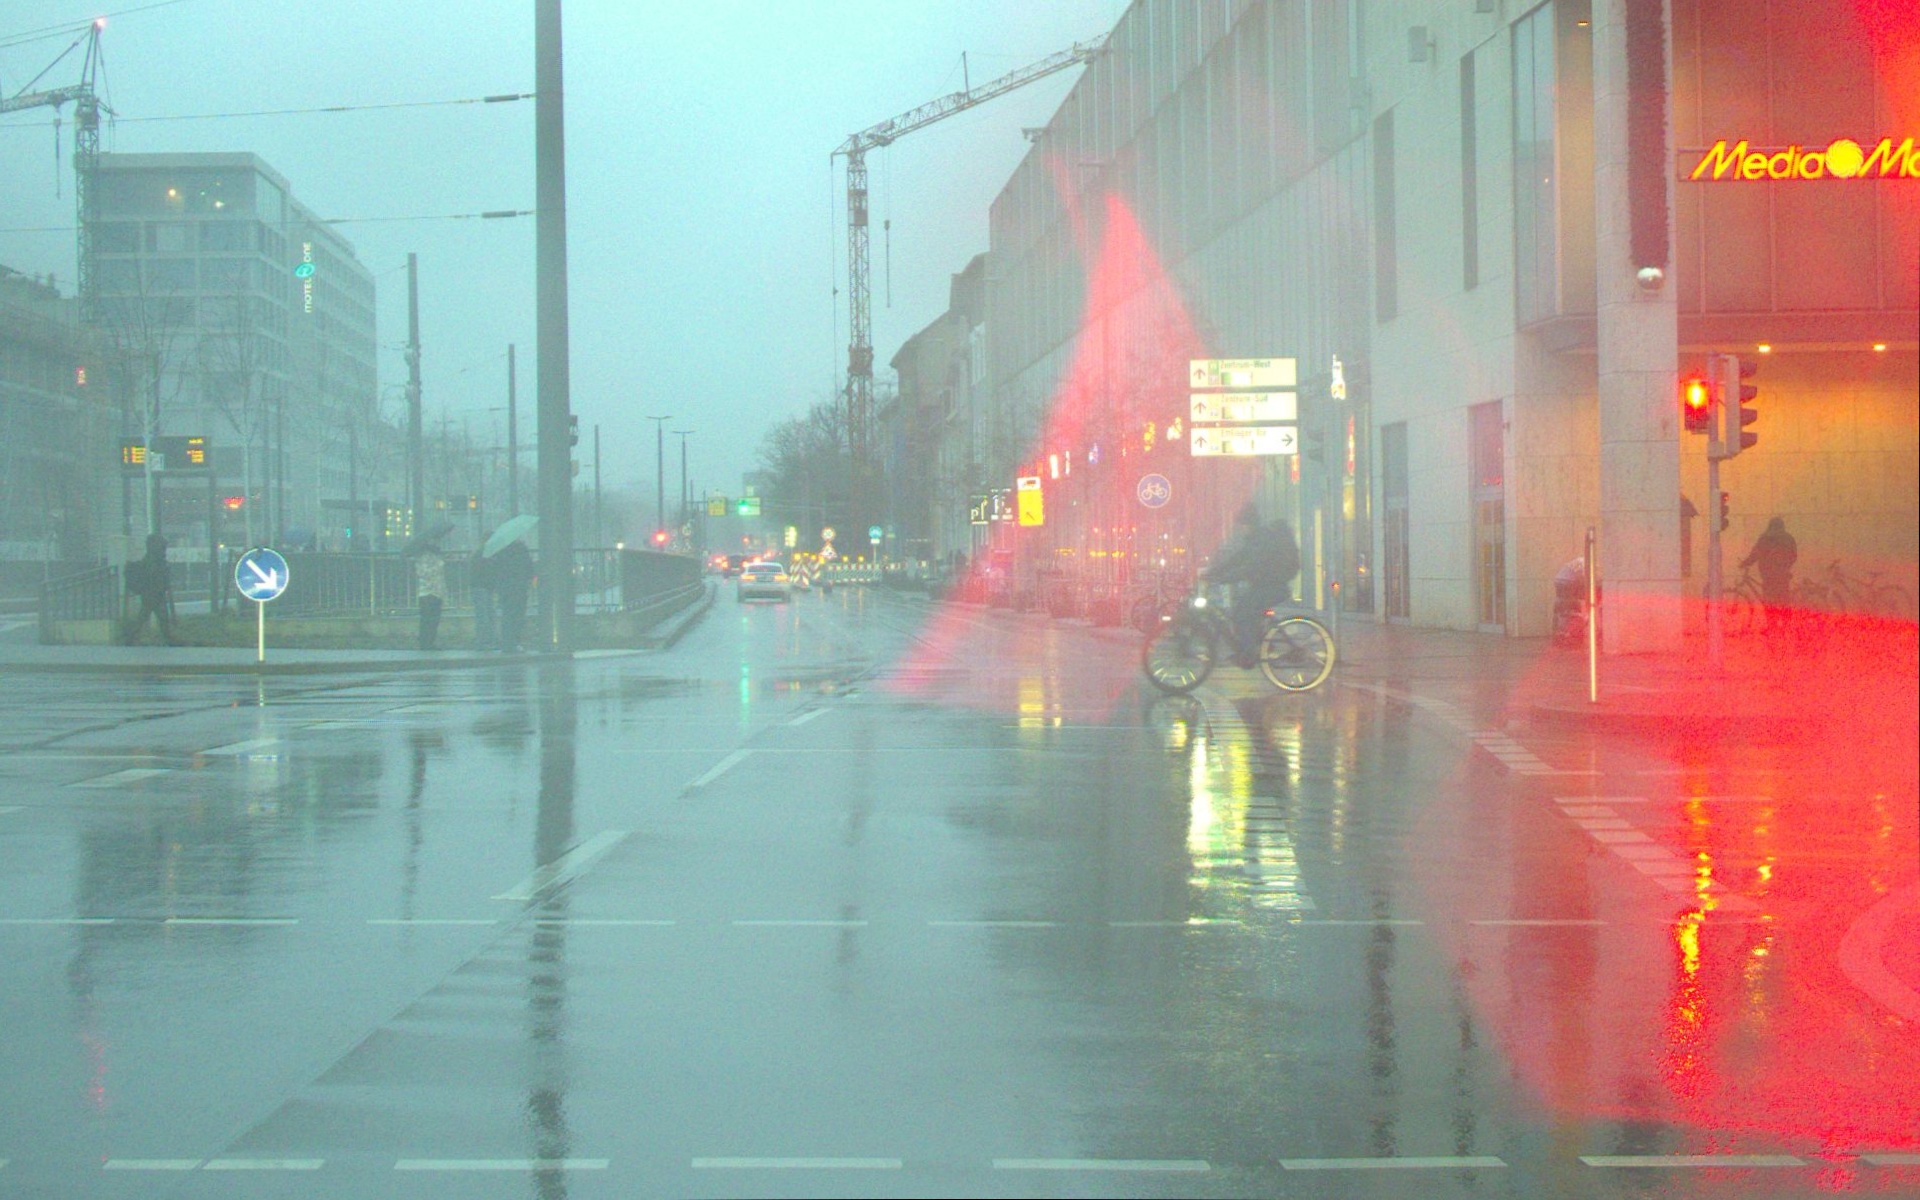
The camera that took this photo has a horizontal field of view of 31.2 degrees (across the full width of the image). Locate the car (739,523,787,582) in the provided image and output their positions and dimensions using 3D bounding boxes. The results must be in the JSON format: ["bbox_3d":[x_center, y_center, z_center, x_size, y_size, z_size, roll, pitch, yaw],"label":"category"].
[{"bbox_3d":[-6.846,-1.667,119.699,1.577,2.007,3.172,-1,1,-3],"label":"car"}]

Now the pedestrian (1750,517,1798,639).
[{"bbox_3d":[11.764,-0.319,49.714,0.600,1.739,0.524,1,0,8],"label":"pedestrian"}]

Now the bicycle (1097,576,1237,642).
[{"bbox_3d":[3.708,0.158,61.608,2.442,1.150,0.674,-1,0,-1],"label":"bicycle"}]

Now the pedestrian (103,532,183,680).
[{"bbox_3d":[-11.254,0.078,47.347,0.785,2.007,0.726,1,1,42],"label":"pedestrian"}]

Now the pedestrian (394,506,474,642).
[{"bbox_3d":[-7.121,-0.349,46.525,0.821,1.825,0.786,1,0,-31],"label":"pedestrian"}]

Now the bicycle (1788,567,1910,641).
[{"bbox_3d":[13.136,0.064,50.810,1.646,1.066,0.525,1,0,-4],"label":"bicycle"}]

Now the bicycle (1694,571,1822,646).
[{"bbox_3d":[11.668,0.118,50.321,1.768,1.066,0.524,1,0,8],"label":"bicycle"}]

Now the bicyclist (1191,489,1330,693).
[{"bbox_3d":[2.787,-0.085,31.973,1.156,1.865,0.745,1,0,-4],"label":"bicyclist"}]

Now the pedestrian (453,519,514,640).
[{"bbox_3d":[-6.654,-0.284,48.006,0.612,1.680,0.577,1,1,42],"label":"pedestrian"}]

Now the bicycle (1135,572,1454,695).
[{"bbox_3d":[3.100,0.309,32.005,2.856,1.095,0.745,1,0,-5],"label":"bicycle"}]
